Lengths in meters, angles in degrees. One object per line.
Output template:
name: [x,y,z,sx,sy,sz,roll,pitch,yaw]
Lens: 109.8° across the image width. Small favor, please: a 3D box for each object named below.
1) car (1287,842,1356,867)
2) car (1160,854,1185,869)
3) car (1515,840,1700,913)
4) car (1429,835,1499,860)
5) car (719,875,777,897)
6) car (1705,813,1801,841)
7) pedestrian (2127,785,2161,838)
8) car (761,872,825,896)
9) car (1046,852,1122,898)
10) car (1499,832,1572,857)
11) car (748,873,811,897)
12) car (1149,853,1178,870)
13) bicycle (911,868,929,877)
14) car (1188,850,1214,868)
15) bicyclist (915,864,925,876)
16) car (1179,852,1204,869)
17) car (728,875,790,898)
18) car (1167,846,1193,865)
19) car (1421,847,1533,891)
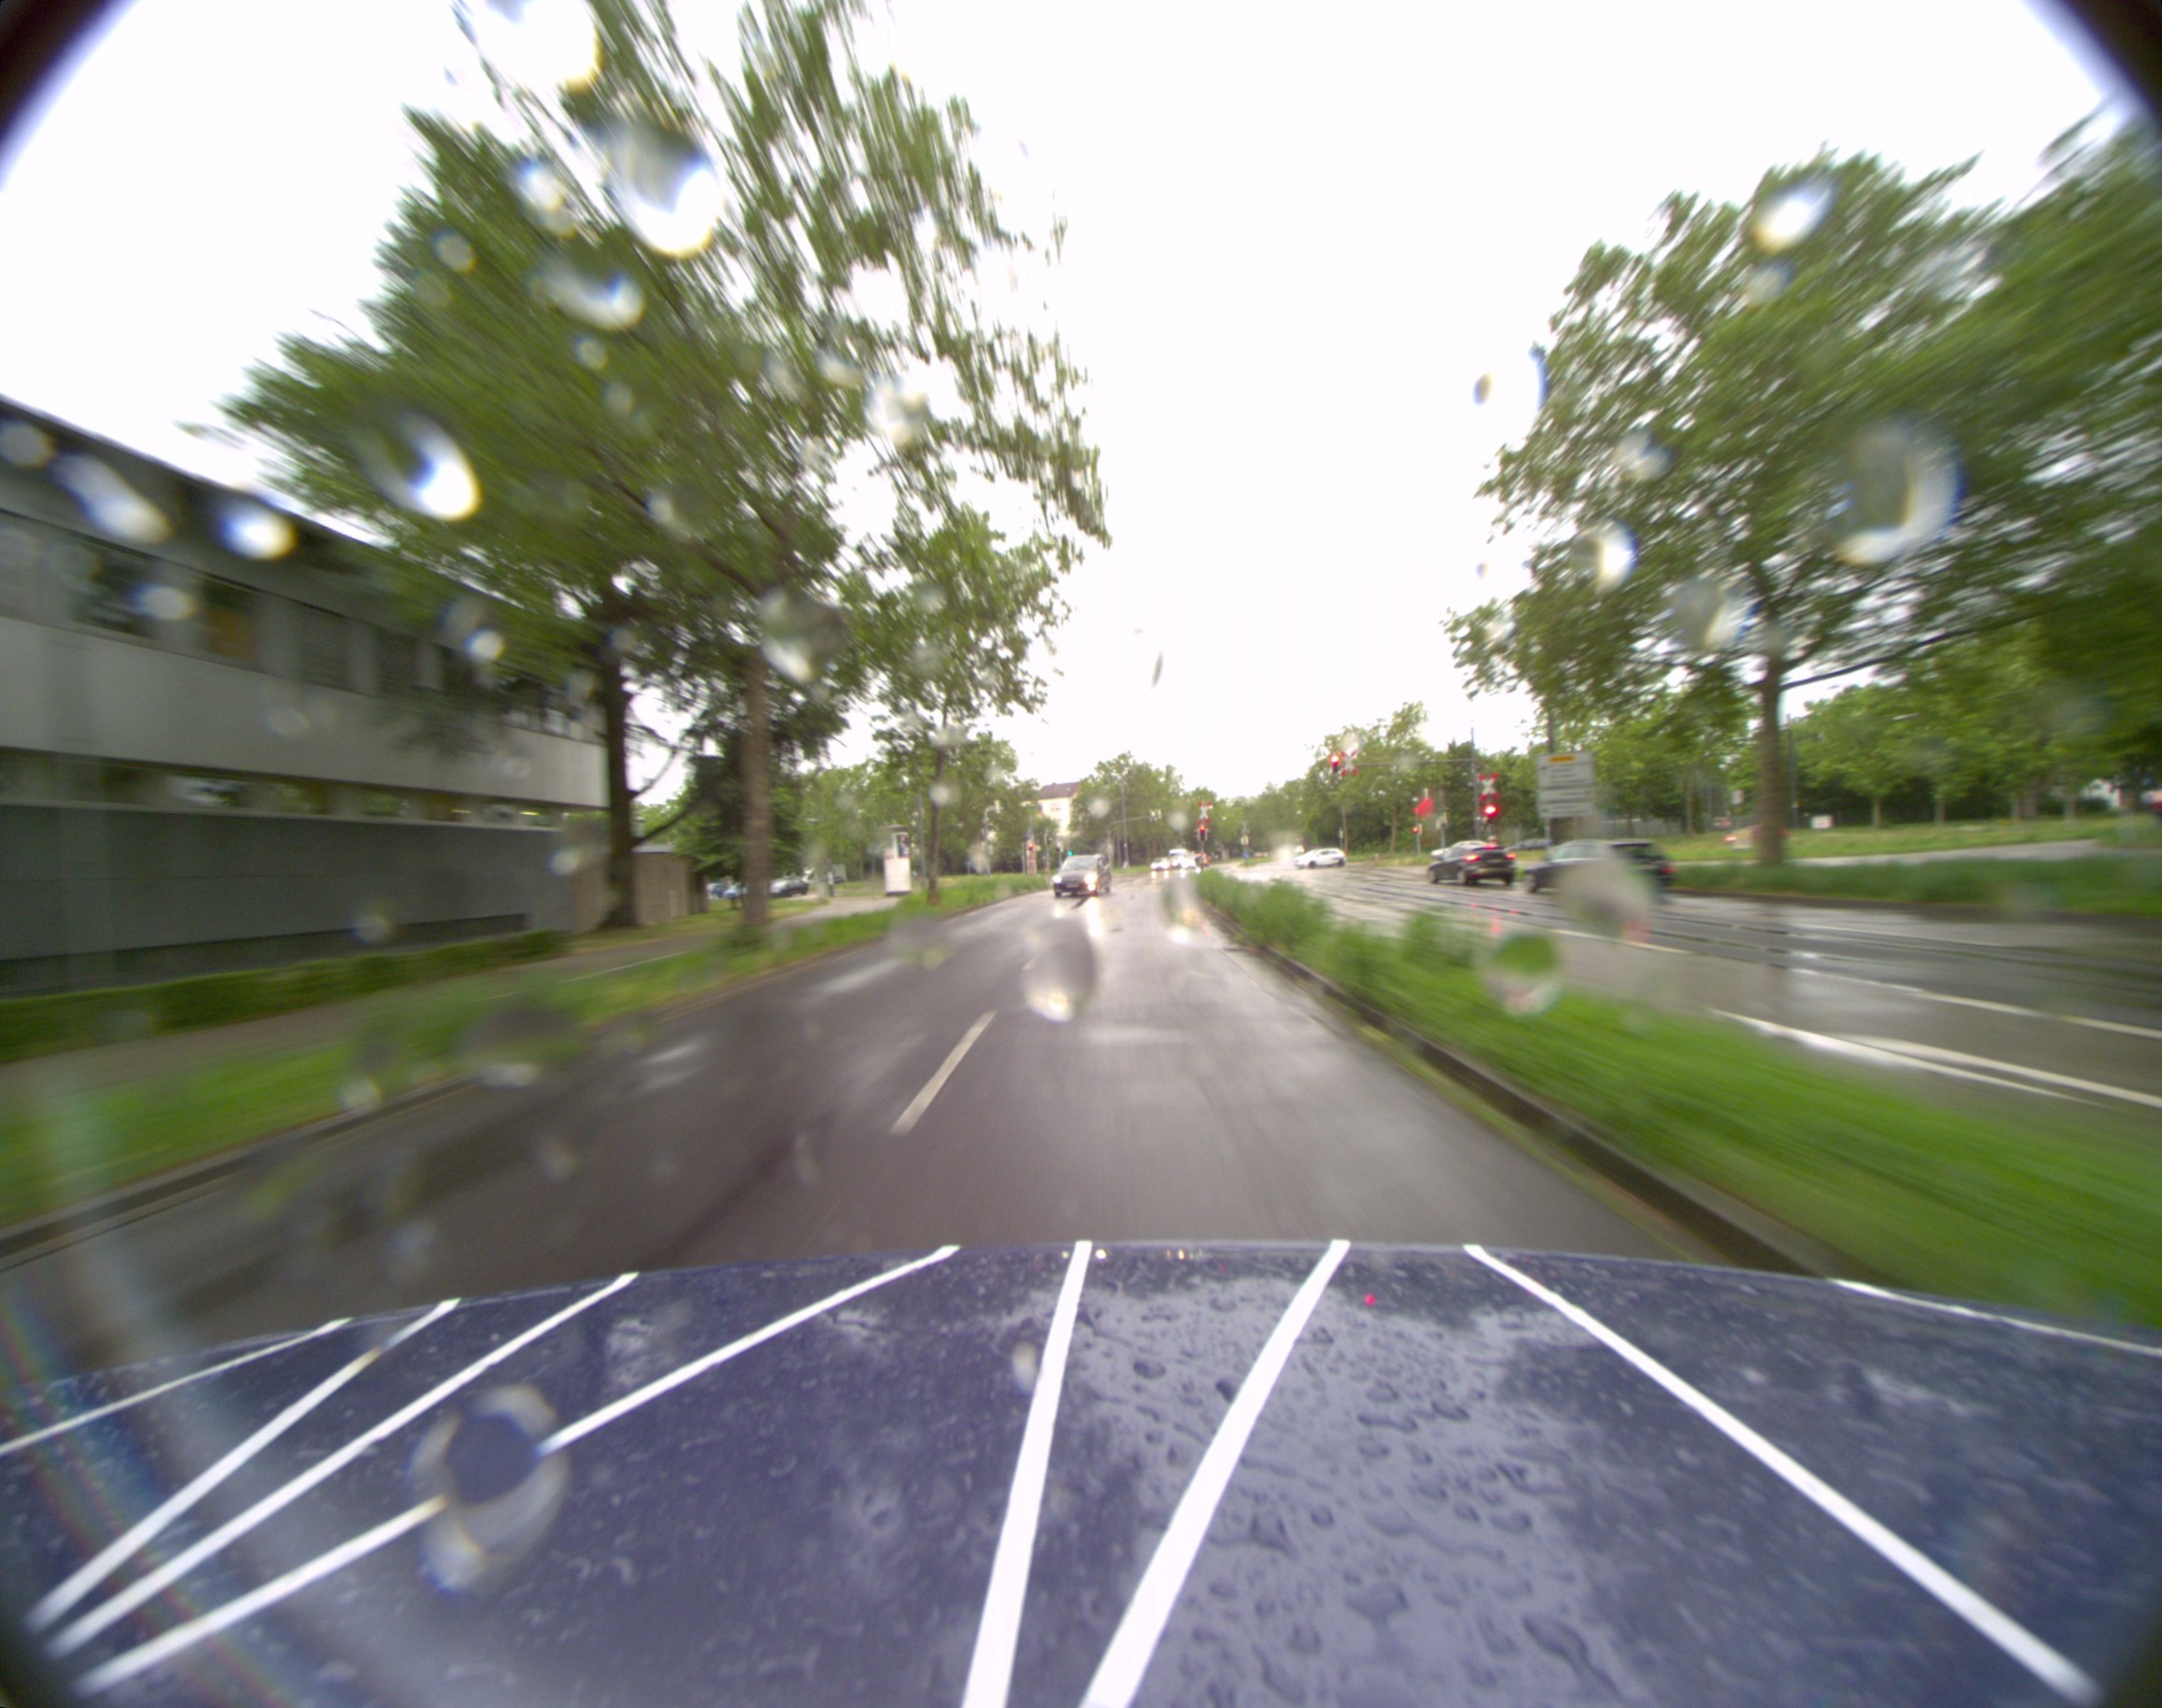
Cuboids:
car: [18.233,0.028,57.696,4.522,1.620,1.998,-4,1,-11]
car: [11.101,0.871,91.901,1.996,1.620,4.527,-3,0,19]
car: [13.713,0.513,20.162,1.998,1.622,4.332,-4,0,3]
car: [29.085,-0.522,57.838,4.494,1.620,2.003,-3,1,21]
car: [-30.128,2.892,68.764,4.528,1.620,1.996,-4,1,-29]
car: [46.592,-1.837,52.782,4.512,1.620,2.003,-3,1,21]
pedestrian: [41.370,-1.636,29.197,0.898,2.002,1.020,-3,1,8]
car: [-23.262,2.387,61.442,4.528,1.620,1.996,-4,1,-29]
car: [0.237,0.810,32.346,1.997,1.585,5.594,-3,0,12]
car: [35.011,-0.747,58.624,4.512,1.620,2.003,-3,1,21]
car: [-24.985,2.531,63.047,4.528,1.620,1.996,-4,1,-29]
car: [9.147,0.852,83.879,1.996,1.620,4.527,-3,0,20]
bicycle: [-17.484,2.055,82.682,1.860,0.880,0.684,-3,1,30]
car: [14.097,0.575,89.129,1.996,1.876,4.528,-3,1,22]
bicyclist: [-17.474,1.741,82.648,0.742,1.138,0.684,-3,1,30]
car: [12.180,0.740,83.416,1.996,1.620,4.527,-3,0,17]
car: [-27.533,2.750,64.987,4.528,1.620,1.996,-4,1,-29]
car: [12.872,0.168,98.355,1.996,2.095,5.150,-3,1,22]
car: [14.406,0.481,27.938,1.998,1.366,4.332,-4,0,3]
